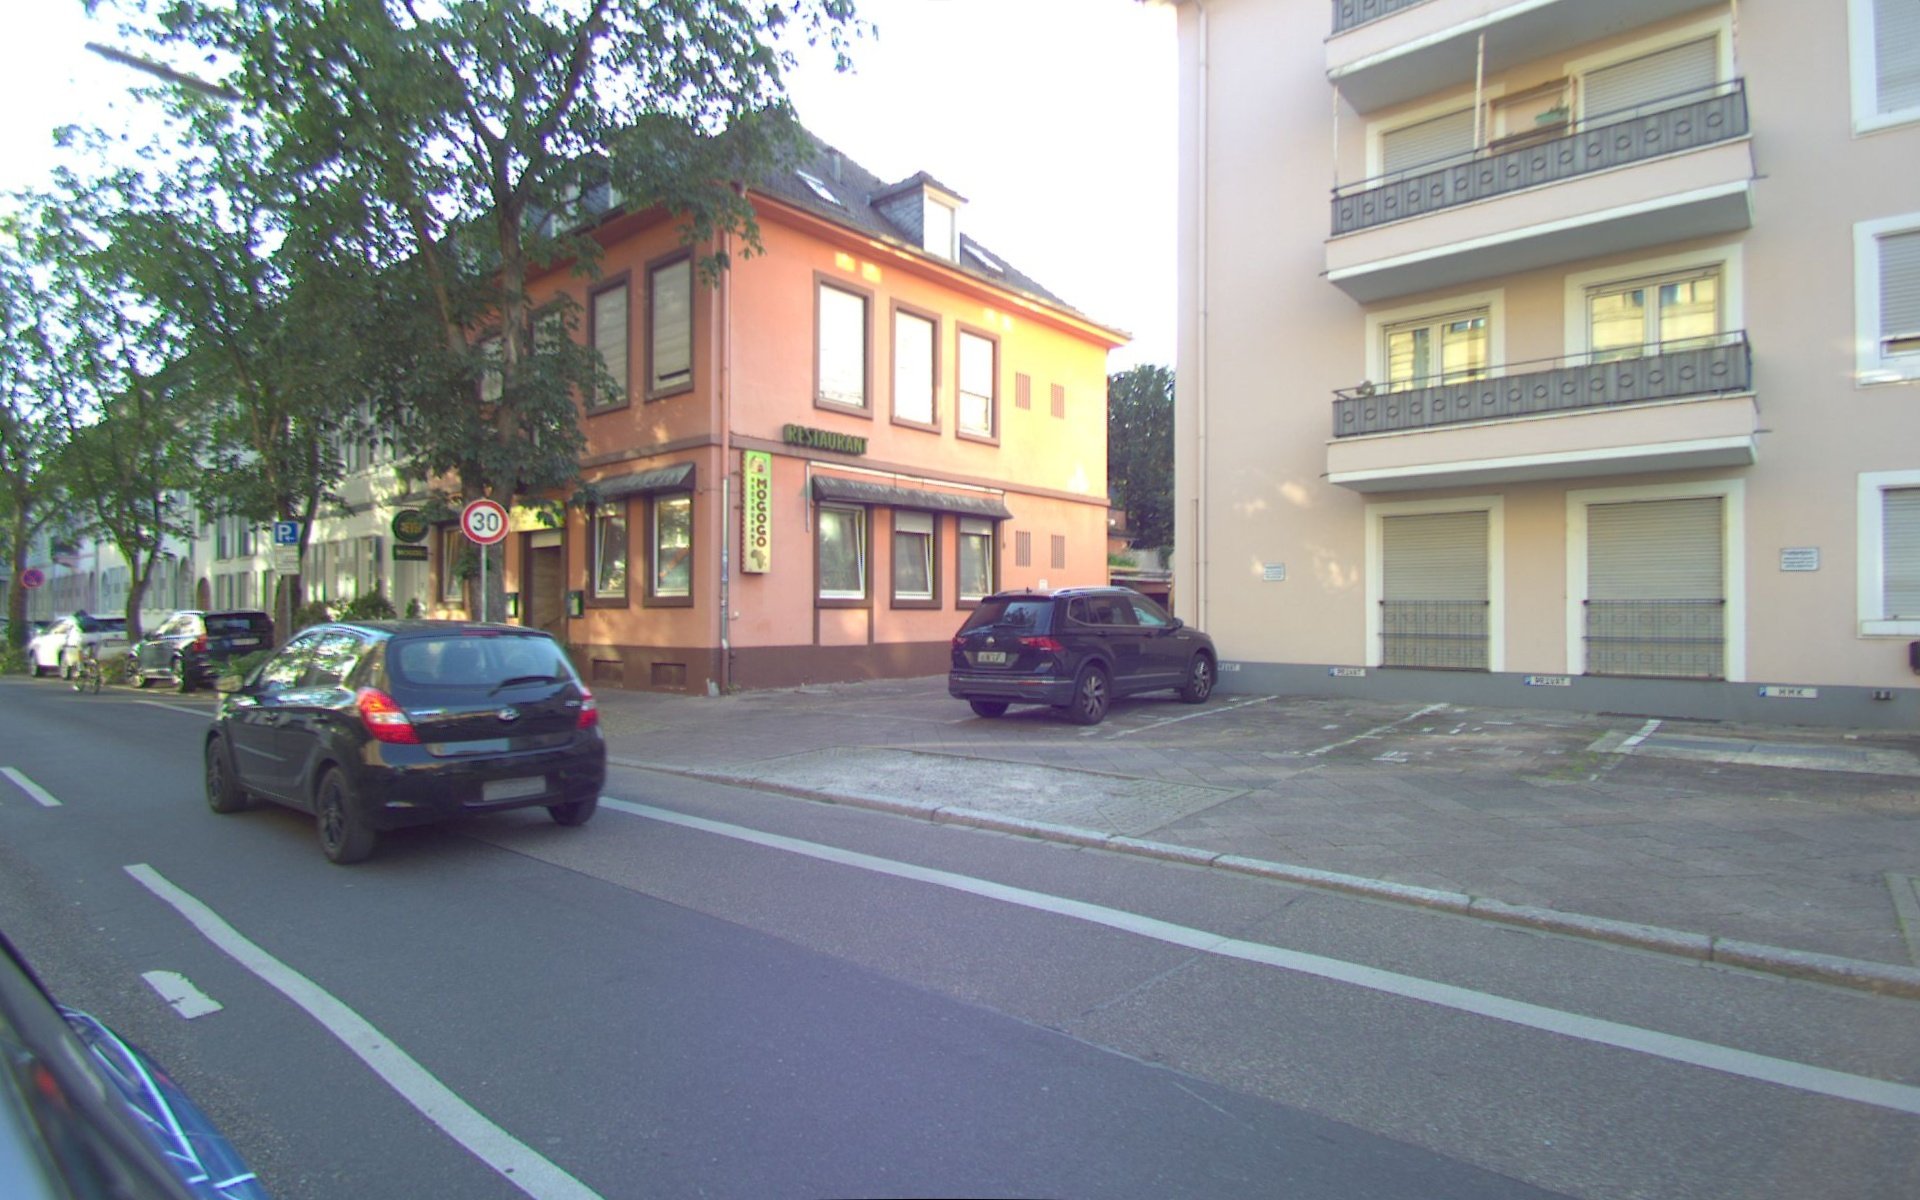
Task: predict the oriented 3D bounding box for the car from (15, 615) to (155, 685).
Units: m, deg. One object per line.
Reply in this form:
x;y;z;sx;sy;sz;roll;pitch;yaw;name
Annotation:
-24.372;1.331;28.145;4.645;1.680;1.813;-1;2;35;car

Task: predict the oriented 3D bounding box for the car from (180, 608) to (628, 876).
-4.259;0.870;7.520;3.851;1.483;1.641;-2;-3;40;car

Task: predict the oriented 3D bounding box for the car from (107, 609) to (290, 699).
-17.517;1.166;23.205;5.036;1.772;1.813;-1;2;35;car

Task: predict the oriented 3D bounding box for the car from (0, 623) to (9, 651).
-54.100;2.000;54.365;1.798;1.519;4.178;-1;-2;38;car

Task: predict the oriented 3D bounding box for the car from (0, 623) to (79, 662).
-38.284;1.700;40.695;1.801;1.557;4.172;-1;-2;43;car

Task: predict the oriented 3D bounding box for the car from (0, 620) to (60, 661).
-40.549;1.677;42.251;1.798;1.703;4.178;-1;-2;38;car

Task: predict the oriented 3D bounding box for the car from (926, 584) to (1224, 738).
1.697;0.669;13.500;1.862;1.678;4.374;-1;0;39;car

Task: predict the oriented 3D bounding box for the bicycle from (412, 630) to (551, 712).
-7.132;1.029;15.169;0.609;1.112;1.850;-1;-1;34;bicycle

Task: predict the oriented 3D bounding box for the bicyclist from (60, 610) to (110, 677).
-18.776;0.920;21.714;0.928;1.374;0.619;1;0;38;bicyclist

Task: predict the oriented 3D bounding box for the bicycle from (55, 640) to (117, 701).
-18.703;1.476;21.653;2.050;1.164;0.619;1;0;38;bicycle
